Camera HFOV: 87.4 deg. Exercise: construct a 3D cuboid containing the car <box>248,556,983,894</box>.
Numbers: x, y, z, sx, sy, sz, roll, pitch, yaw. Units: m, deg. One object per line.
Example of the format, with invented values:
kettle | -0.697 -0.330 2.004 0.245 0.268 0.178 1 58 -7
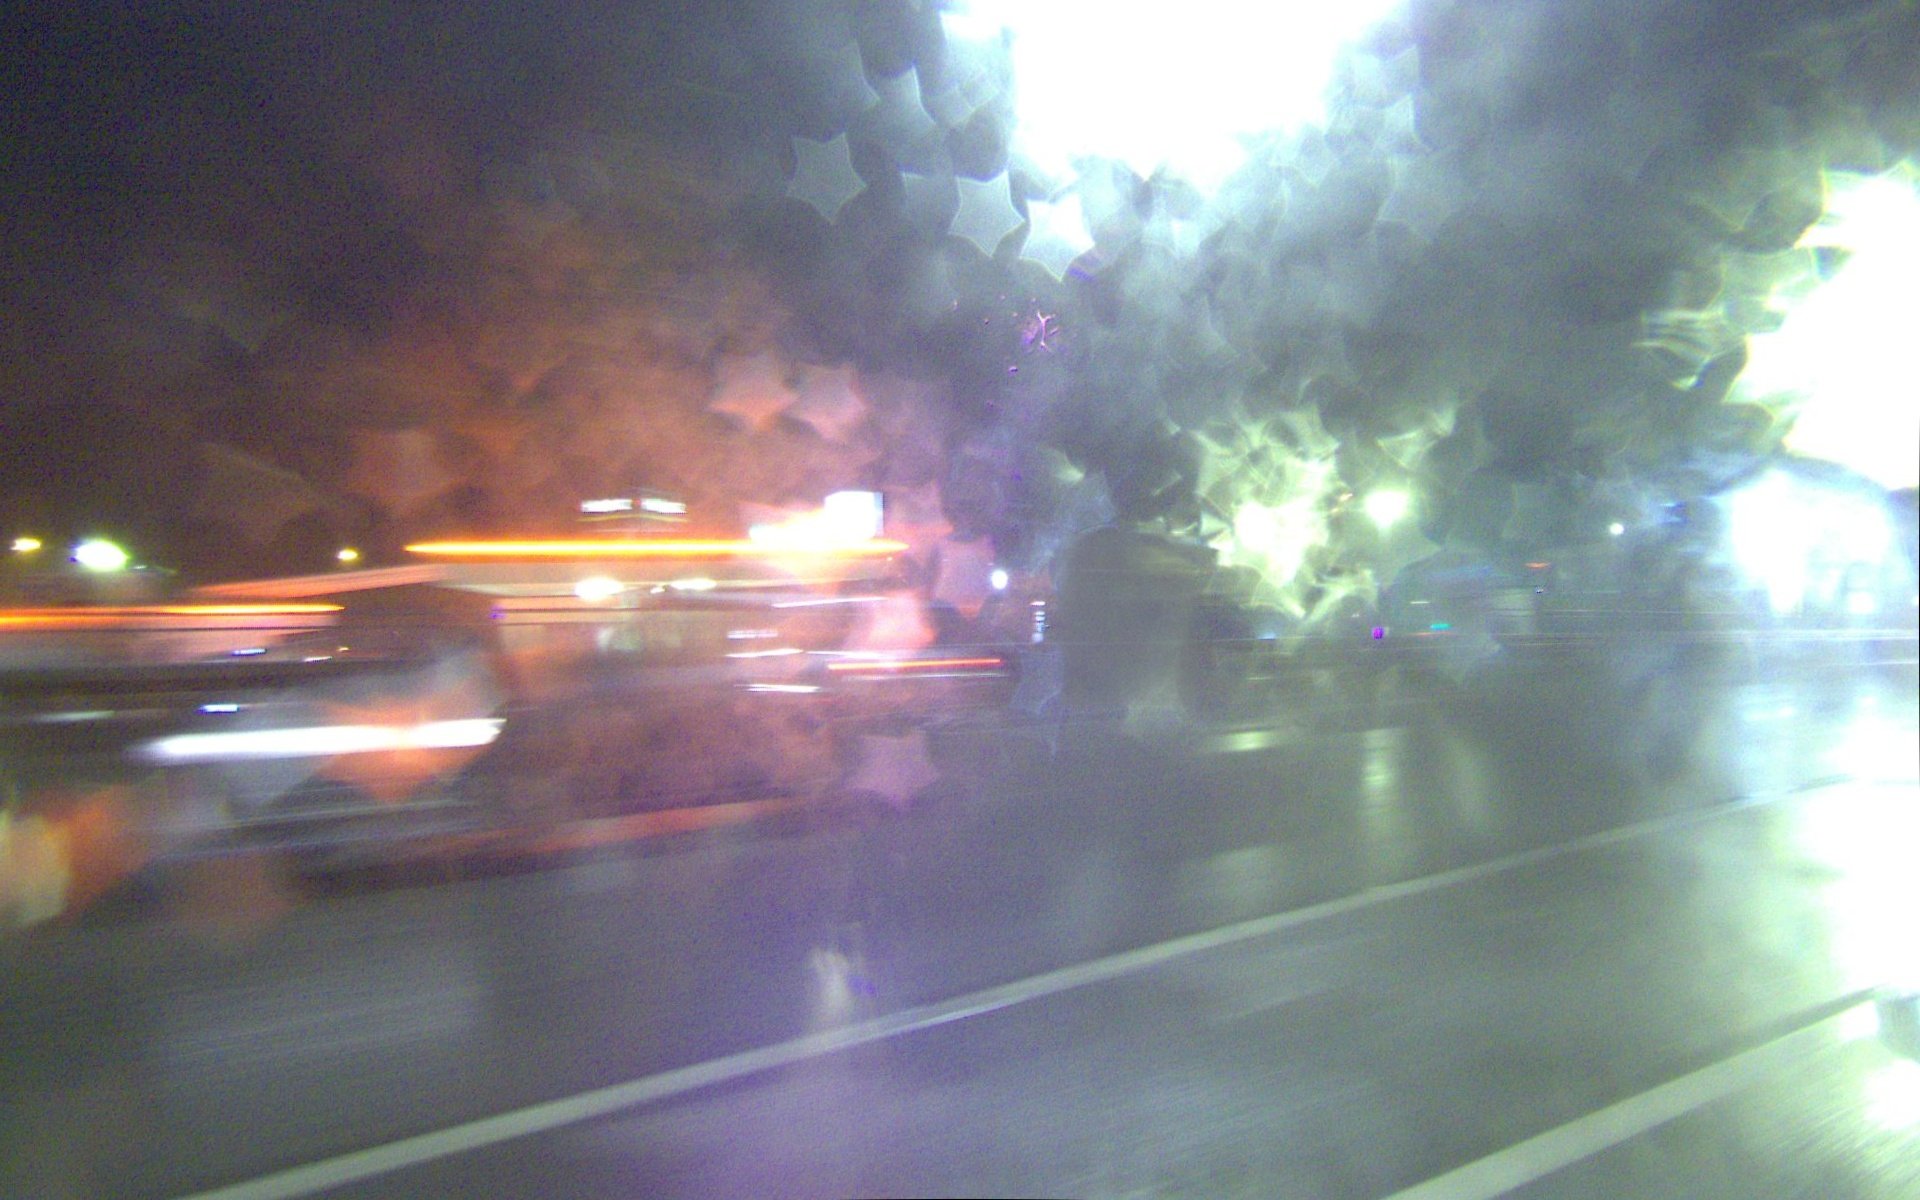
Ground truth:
car | -2.046 0.610 6.504 4.148 1.523 1.813 2 -1 -36
